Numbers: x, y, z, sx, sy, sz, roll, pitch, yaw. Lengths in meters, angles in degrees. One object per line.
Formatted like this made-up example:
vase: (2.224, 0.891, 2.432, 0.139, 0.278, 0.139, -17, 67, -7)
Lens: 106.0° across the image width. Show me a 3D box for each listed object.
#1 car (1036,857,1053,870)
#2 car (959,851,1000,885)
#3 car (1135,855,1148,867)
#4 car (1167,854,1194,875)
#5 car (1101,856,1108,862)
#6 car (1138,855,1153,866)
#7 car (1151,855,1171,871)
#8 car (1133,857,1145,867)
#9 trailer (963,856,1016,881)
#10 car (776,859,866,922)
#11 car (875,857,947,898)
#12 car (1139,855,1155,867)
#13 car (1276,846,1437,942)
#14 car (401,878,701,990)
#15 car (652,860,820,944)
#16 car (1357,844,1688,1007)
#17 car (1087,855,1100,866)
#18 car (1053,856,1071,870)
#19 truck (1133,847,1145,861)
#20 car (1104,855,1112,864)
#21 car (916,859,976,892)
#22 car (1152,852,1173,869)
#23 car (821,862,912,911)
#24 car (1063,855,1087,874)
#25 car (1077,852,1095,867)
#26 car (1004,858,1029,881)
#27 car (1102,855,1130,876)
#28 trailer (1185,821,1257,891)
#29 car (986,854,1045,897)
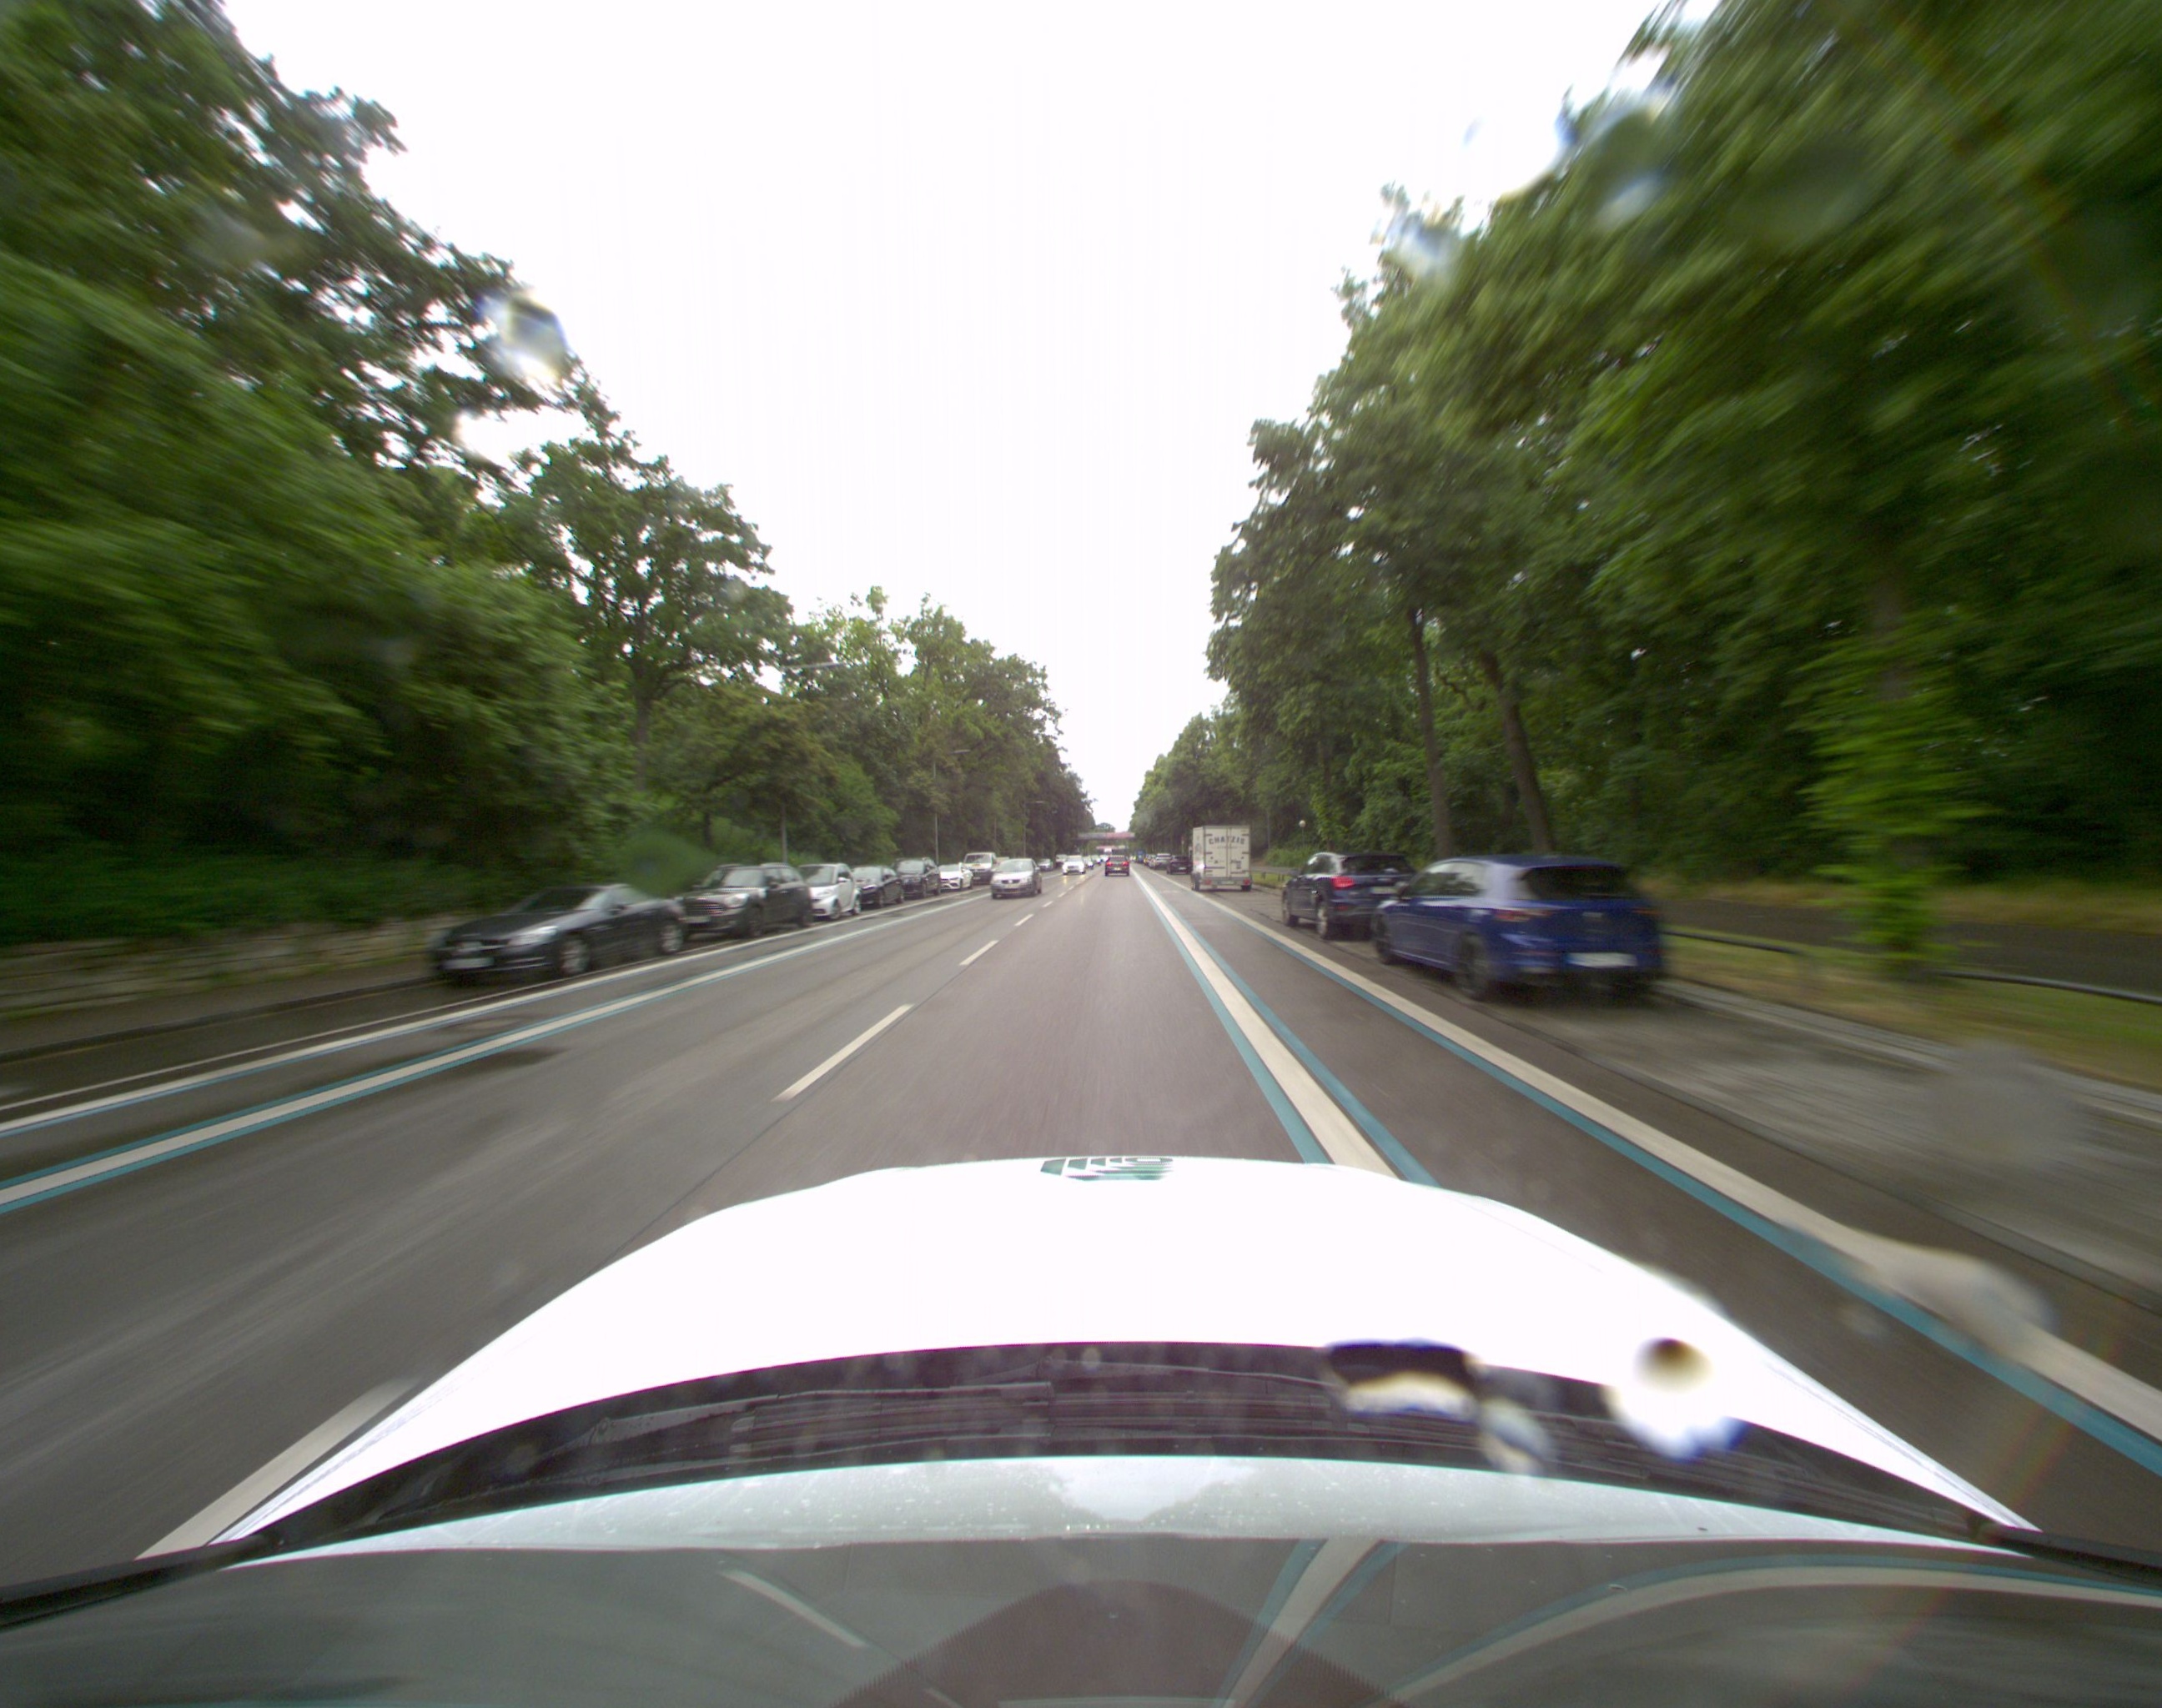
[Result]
car: (-4.305, 1.077, 95.945, 1.666, 1.513, 3.632, -1, 0, 2)
car: (-6.282, 0.851, 50.967, 1.934, 2.013, 4.739, -1, 0, 0)
car: (10.294, 1.174, 139.554, 1.986, 2.014, 4.001, -1, -1, 1)
car: (7.439, 0.768, 61.214, 1.715, 1.525, 4.003, -1, 0, 3)
car: (5.071, 1.048, 176.896, 1.373, 1.131, 3.315, -1, 0, 2)
car: (9.174, 0.935, 116.283, 1.985, 1.562, 4.003, -1, 0, 3)
car: (8.347, 0.902, 85.538, 1.889, 1.606, 4.003, -1, 0, 3)
car: (10.509, 1.407, 147.693, 1.985, 1.772, 4.003, -3, -1, 3)
trailer: (-6.265, 0.973, 55.962, 1.609, 1.629, 3.696, -2, 0, 33)
car: (-7.163, 0.964, 22.668, 1.455, 1.571, 2.985, -1, 0, 1)
car: (-7.041, 0.947, 34.149, 1.872, 1.561, 4.471, -1, 0, 3)
car: (8.973, 0.896, 111.459, 1.985, 1.562, 4.003, -1, 0, 3)
car: (4.910, 0.645, 15.098, 1.707, 1.513, 3.977, -1, 0, 1)
car: (-7.887, 1.102, 12.697, 1.688, 1.300, 4.197, -1, 0, 4)
car: (-7.452, 0.963, 18.097, 1.688, 1.584, 4.143, -1, 0, 4)
car: (4.769, 0.647, 9.605, 1.675, 1.481, 4.320, -1, 0, 2)
car: (1.945, 0.990, 124.983, 1.699, 1.572, 4.003, -1, 0, 3)
car: (-2.813, 1.344, 121.013, 2.149, 2.013, 5.035, -1, 0, 3)
truck: (11.039, -0.010, 155.843, 2.104, 2.599, 4.304, -1, 0, 3)
car: (7.145, 1.448, 212.767, 1.985, 2.014, 4.002, -3, -4, 3)
car: (-6.642, 1.021, 40.589, 1.985, 1.488, 4.471, -1, 0, 3)
car: (8.040, 0.626, 80.929, 1.889, 1.606, 4.003, -1, 0, 3)
car: (-7.254, 1.045, 27.979, 1.801, 1.488, 4.470, -1, 0, 1)
car: (-0.477, 0.848, 67.749, 1.828, 1.517, 4.001, -2, 0, 2)
car: (0.577, 0.588, 89.818, 1.699, 1.572, 4.003, -1, 0, 3)
car: (-5.348, 1.257, 67.776, 1.569, 1.770, 3.418, -1, 0, 3)
car: (2.465, 0.834, 58.737, 1.865, 1.441, 4.295, 0, -1, 0)
trailer: (5.486, 0.061, 32.478, 2.125, 2.560, 4.297, -1, 0, 0)
car: (-2.424, 0.768, 31.237, 1.692, 1.485, 4.037, -2, 0, 3)
